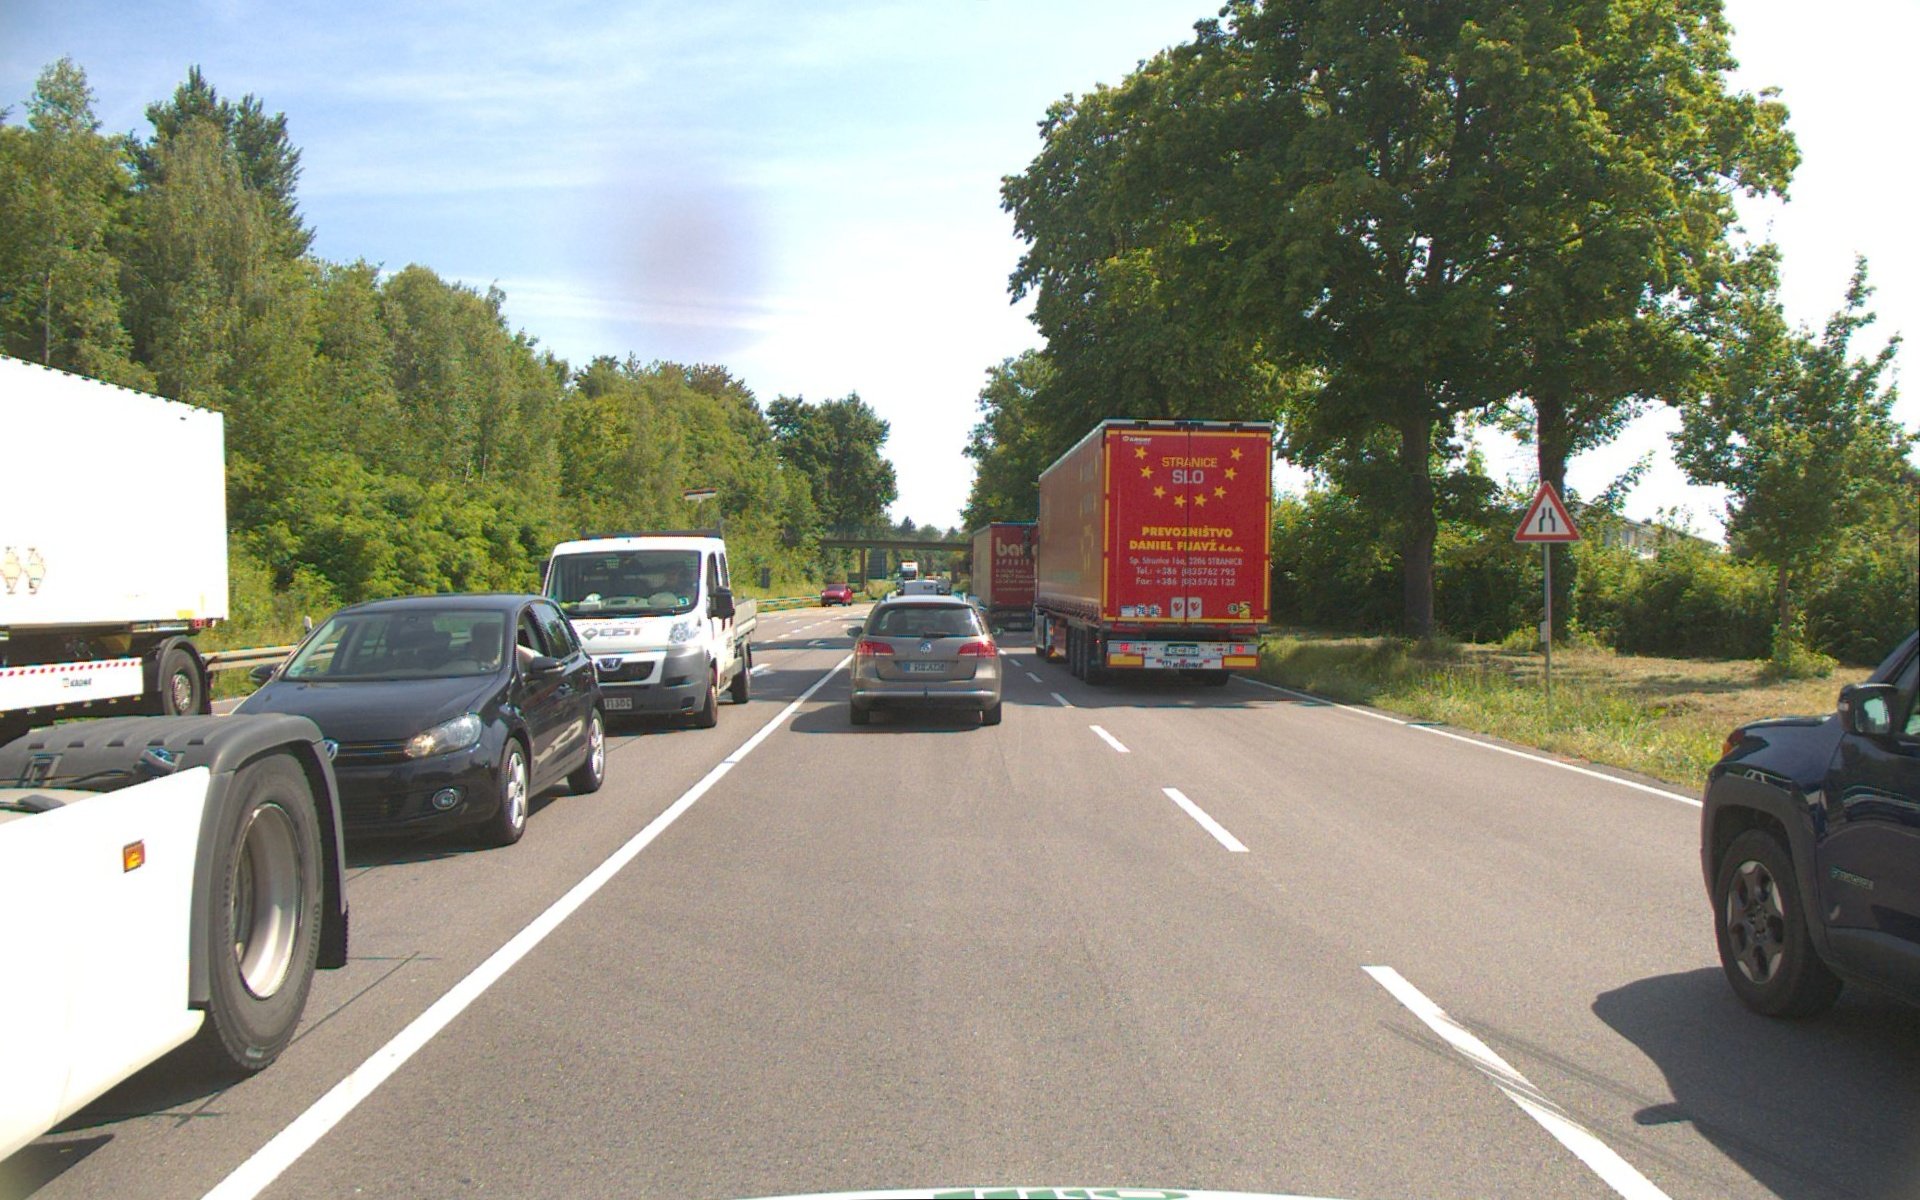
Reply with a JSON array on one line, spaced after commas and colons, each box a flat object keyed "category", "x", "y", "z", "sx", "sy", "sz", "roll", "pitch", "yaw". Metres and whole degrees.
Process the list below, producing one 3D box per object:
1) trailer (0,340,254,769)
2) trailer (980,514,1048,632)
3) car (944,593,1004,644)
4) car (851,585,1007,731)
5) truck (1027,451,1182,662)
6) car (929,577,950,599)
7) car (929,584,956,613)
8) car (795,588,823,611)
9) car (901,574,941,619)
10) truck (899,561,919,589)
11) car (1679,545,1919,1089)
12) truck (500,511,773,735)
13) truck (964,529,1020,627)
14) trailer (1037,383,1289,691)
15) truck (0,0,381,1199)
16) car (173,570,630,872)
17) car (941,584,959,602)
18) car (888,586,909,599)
[{"category": "trailer", "x": -10.681, "y": -0.409, "z": 17.570, "sx": 2.783, "sy": 4.141, "sz": 8.752, "roll": -1, "pitch": 0, "yaw": -2}, {"category": "trailer", "x": 2.084, "y": -0.995, "z": 67.730, "sx": 2.346, "sy": 4.317, "sz": 13.078, "roll": -1, "pitch": 0, "yaw": 0}, {"category": "car", "x": 0.408, "y": 0.564, "z": 53.300, "sx": 1.734, "sy": 1.539, "sz": 3.998, "roll": -2, "pitch": 0, "yaw": -2}, {"category": "car", "x": -0.399, "y": 0.629, "z": 19.939, "sx": 1.657, "sy": 1.539, "sz": 3.998, "roll": -2, "pitch": 0, "yaw": -2}, {"category": "truck", "x": 3.112, "y": -0.896, "z": 37.254, "sx": 2.812, "sy": 4.356, "sz": 5.837, "roll": 1, "pitch": 0, "yaw": -2}, {"category": "car", "x": -1.977, "y": -1.195, "z": 161.691, "sx": 1.953, "sy": 2.049, "sz": 3.999, "roll": -1, "pitch": 0, "yaw": -2}, {"category": "car", "x": -1.324, "y": -0.088, "z": 123.654, "sx": 1.953, "sy": 2.049, "sz": 3.999, "roll": -1, "pitch": 0, "yaw": -2}, {"category": "car", "x": -12.281, "y": -0.036, "z": 135.147, "sx": 1.933, "sy": 1.828, "sz": 4.807, "roll": -1, "pitch": 0, "yaw": -2}, {"category": "car", "x": -1.798, "y": -0.160, "z": 75.473, "sx": 1.734, "sy": 1.970, "sz": 3.976, "roll": -1, "pitch": 0, "yaw": -2}, {"category": "truck", "x": -7.636, "y": -3.666, "z": 246.684, "sx": 2.718, "sy": 3.999, "sz": 9.462, "roll": -1, "pitch": 0, "yaw": -2}, {"category": "car", "x": 3.819, "y": 0.651, "z": 4.789, "sx": 1.734, "sy": 1.683, "sz": 4.000, "roll": -2, "pitch": 0, "yaw": 1}, {"category": "truck", "x": -3.774, "y": 0.244, "z": 20.702, "sx": 2.182, "sy": 2.307, "sz": 6.498, "roll": -1, "pitch": 0, "yaw": -1}, {"category": "truck", "x": 1.419, "y": -0.942, "z": 74.658, "sx": 2.357, "sy": 4.200, "sz": 5.521, "roll": -1, "pitch": 0, "yaw": 0}, {"category": "trailer", "x": 3.258, "y": -0.908, "z": 30.611, "sx": 2.782, "sy": 4.442, "sz": 13.164, "roll": 1, "pitch": 0, "yaw": -1}, {"category": "truck", "x": -3.358, "y": -0.708, "z": 3.077, "sx": 2.486, "sy": 4.159, "sz": 6.262, "roll": -1, "pitch": 0, "yaw": -2}, {"category": "car", "x": -3.416, "y": 0.652, "z": 10.962, "sx": 1.676, "sy": 1.578, "sz": 4.108, "roll": -2, "pitch": 0, "yaw": -1}, {"category": "car", "x": -1.193, "y": -0.769, "z": 189.223, "sx": 1.953, "sy": 2.049, "sz": 3.999, "roll": -1, "pitch": 0, "yaw": -2}, {"category": "car", "x": -6.761, "y": -0.818, "z": 182.086, "sx": 1.922, "sy": 1.439, "sz": 4.001, "roll": -1, "pitch": 0, "yaw": 2}]
